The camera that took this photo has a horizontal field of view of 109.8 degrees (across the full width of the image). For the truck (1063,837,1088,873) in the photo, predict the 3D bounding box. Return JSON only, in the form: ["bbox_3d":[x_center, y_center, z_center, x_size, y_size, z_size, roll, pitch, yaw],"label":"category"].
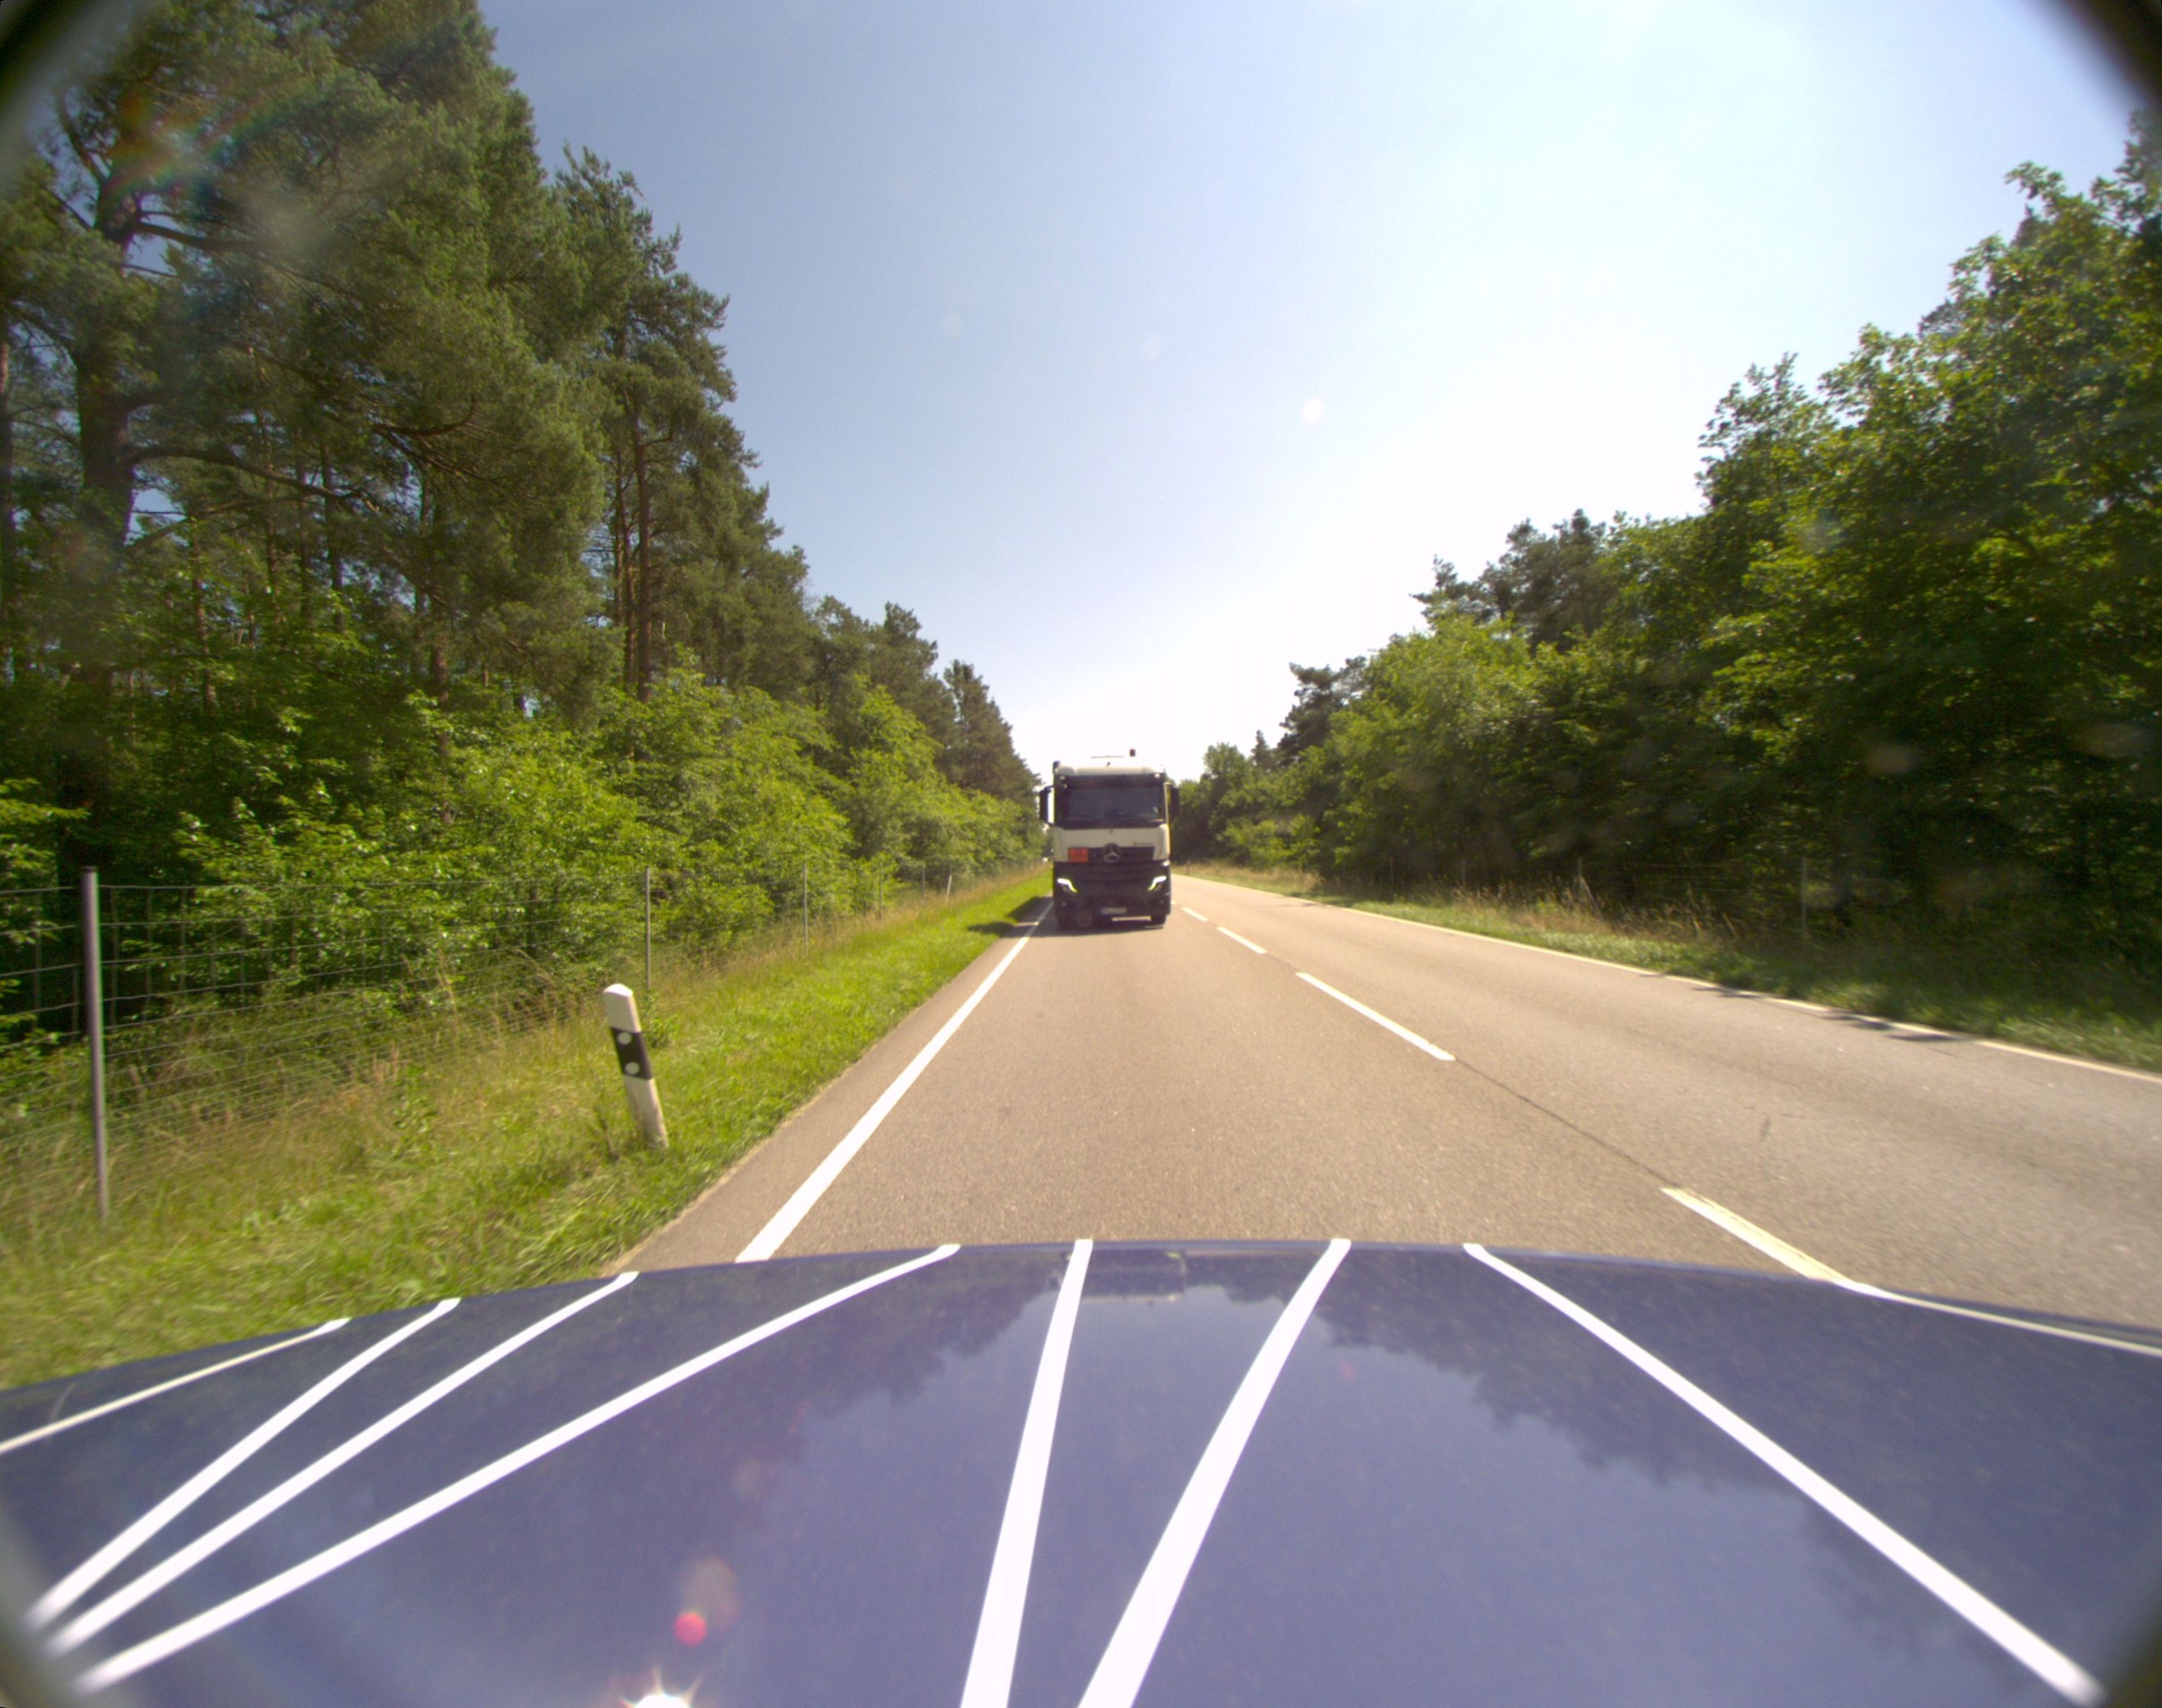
[{"bbox_3d":[-0.573,0.125,81.502,2.494,3.618,6.103,-2,0,0],"label":"truck"}]

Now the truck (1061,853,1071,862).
[{"bbox_3d":[-4.045,0.872,201.548,2.494,2.442,6.103,-1,0,0],"label":"truck"}]

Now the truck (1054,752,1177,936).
[{"bbox_3d":[0.728,-0.187,18.545,2.435,3.672,6.457,-1,0,1],"label":"truck"}]

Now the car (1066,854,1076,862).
[{"bbox_3d":[-1.982,0.734,151.282,1.885,1.462,3.999,-1,0,-3],"label":"car"}]

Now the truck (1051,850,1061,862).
[{"bbox_3d":[-7.834,0.676,239.721,2.495,3.619,6.099,-1,0,-7],"label":"truck"}]
